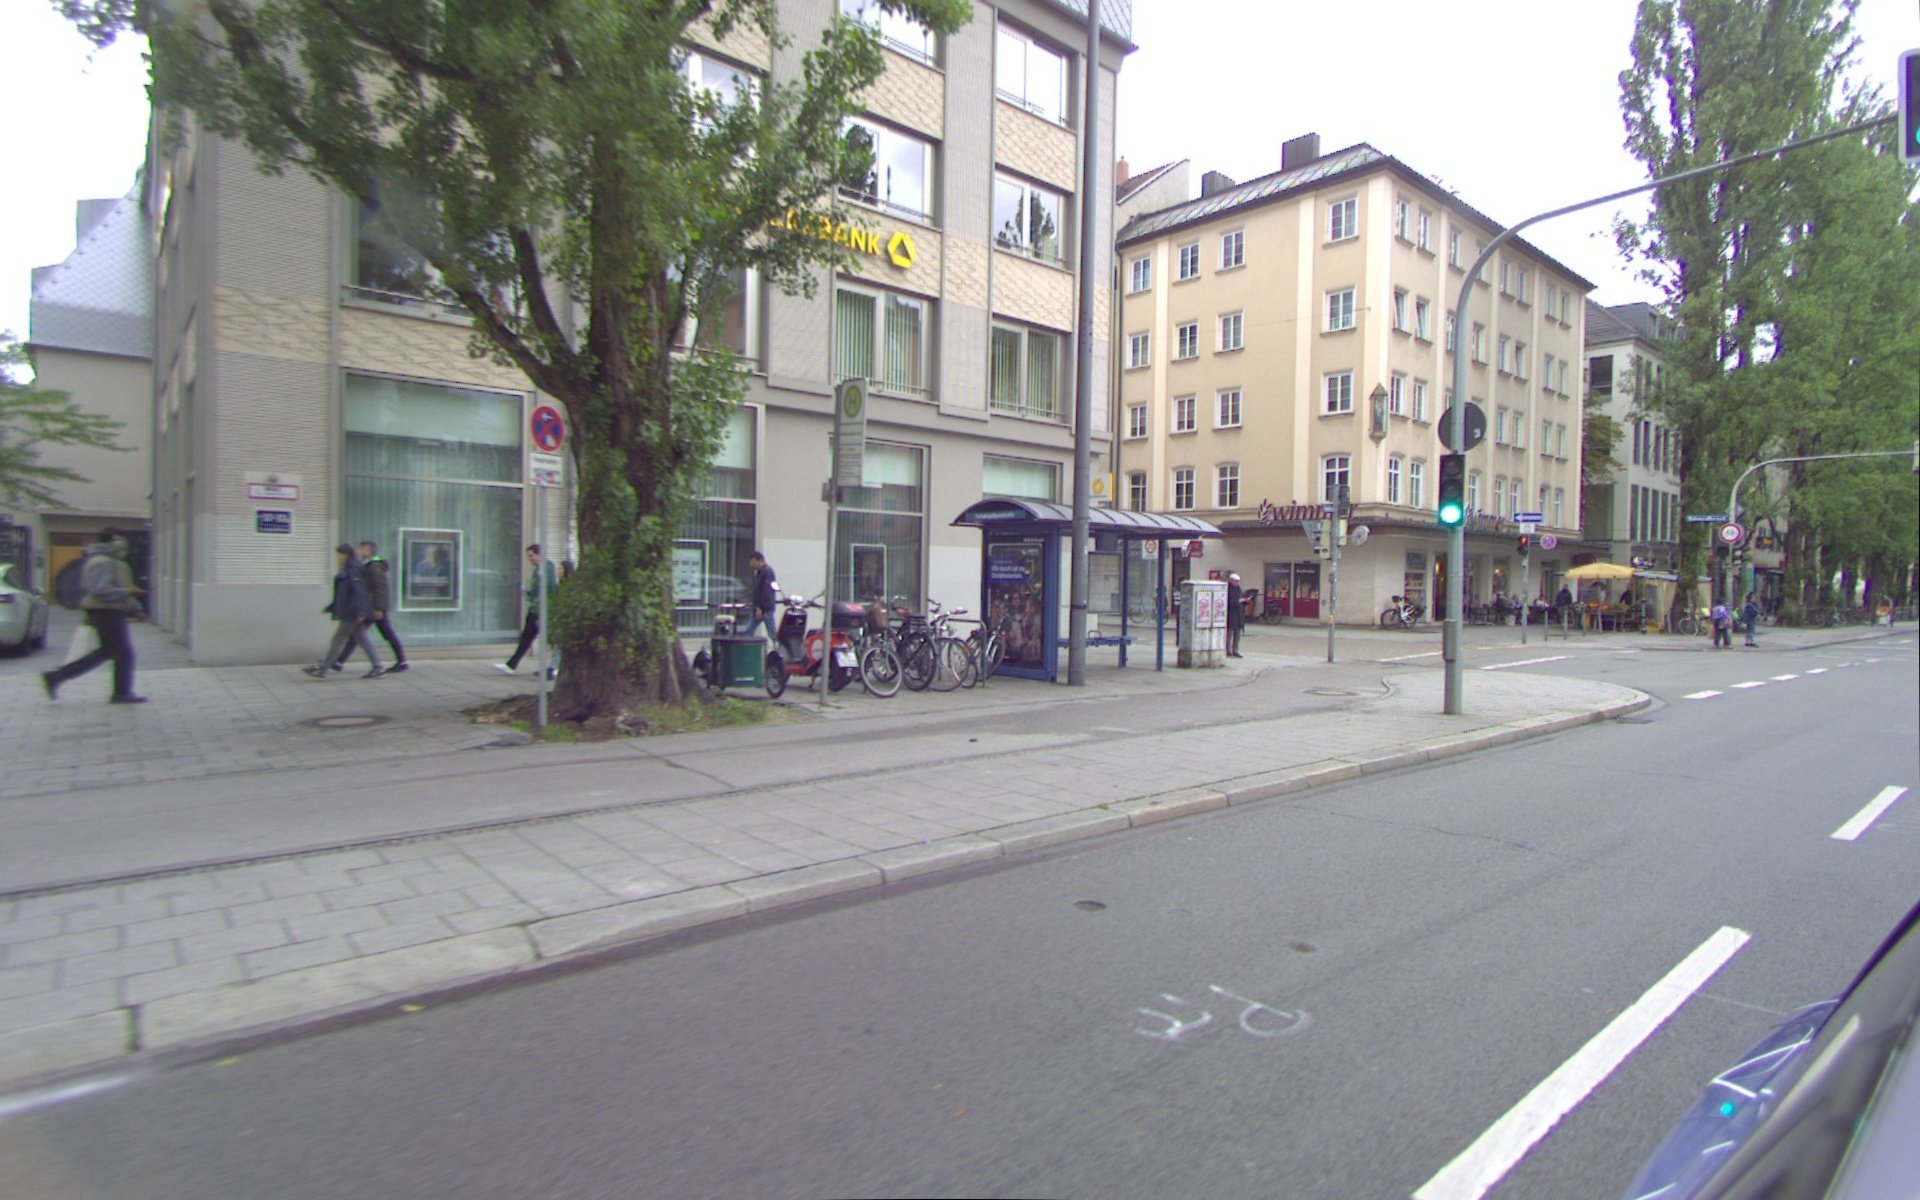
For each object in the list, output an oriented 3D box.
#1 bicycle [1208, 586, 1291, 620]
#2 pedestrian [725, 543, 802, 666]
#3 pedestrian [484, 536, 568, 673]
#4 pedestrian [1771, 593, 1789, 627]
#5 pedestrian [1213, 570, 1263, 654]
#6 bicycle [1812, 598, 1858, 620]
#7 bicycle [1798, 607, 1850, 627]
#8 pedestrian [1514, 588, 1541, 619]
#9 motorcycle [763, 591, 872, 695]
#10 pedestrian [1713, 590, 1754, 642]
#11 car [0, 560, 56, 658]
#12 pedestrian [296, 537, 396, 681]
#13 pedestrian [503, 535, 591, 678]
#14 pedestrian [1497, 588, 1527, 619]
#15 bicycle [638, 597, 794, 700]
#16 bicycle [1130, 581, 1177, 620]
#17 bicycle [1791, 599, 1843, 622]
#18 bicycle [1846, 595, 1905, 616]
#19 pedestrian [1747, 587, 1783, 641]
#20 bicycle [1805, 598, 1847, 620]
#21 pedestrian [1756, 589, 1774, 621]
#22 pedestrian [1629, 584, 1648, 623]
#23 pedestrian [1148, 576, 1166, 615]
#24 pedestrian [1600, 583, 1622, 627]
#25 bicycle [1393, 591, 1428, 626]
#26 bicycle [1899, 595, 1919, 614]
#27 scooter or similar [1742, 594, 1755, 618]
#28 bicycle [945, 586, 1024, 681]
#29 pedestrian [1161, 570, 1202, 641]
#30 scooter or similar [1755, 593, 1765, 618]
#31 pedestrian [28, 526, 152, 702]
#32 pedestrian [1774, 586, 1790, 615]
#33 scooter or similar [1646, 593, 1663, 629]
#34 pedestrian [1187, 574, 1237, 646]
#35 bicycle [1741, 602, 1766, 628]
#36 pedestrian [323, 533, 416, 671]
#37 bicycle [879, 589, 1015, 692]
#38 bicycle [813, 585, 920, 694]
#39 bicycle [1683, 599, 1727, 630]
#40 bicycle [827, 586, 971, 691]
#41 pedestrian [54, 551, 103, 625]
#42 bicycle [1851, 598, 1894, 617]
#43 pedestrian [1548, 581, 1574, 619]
[{"bbox_3d":[10.909,0.101,38.270,0.982,1.268,2.975,0,0,-41],"label":"bicycle"},{"bbox_3d":[-3.055,0.053,15.737,0.875,1.840,0.819,0,1,-43],"label":"pedestrian"},{"bbox_3d":[-5.866,0.036,13.674,0.844,1.779,0.752,-2,3,-40],"label":"pedestrian"},{"bbox_3d":[48.551,0.596,59.906,0.709,1.996,0.658,1,1,-38],"label":"pedestrian"},{"bbox_3d":[5.992,0.243,21.809,0.739,1.780,0.710,0,1,-40],"label":"pedestrian"},{"bbox_3d":[47.851,0.483,55.348,1.864,1.149,0.335,2,1,41],"label":"bicycle"},{"bbox_3d":[43.924,0.840,51.476,1.997,0.957,0.282,2,1,41],"label":"bicycle"},{"bbox_3d":[23.797,0.127,42.457,0.687,1.280,0.777,0,1,-41],"label":"pedestrian"},{"bbox_3d":[-1.788,0.488,12.503,0.500,1.154,1.728,0,1,-39],"label":"motorcycle"},{"bbox_3d":[23.169,0.472,30.313,0.608,1.536,0.769,0,2,3],"label":"pedestrian"},{"bbox_3d":[-15.601,0.065,15.845,1.865,1.405,4.311,0,2,-38],"label":"car"},{"bbox_3d":[-7.590,0.093,12.505,0.945,1.698,0.752,0,1,-40],"label":"pedestrian"},{"bbox_3d":[-5.347,0.053,13.098,0.844,1.779,0.752,-2,3,-40],"label":"pedestrian"},{"bbox_3d":[22.479,0.145,41.219,0.687,1.214,0.870,0,1,-40],"label":"pedestrian"},{"bbox_3d":[-2.856,0.505,11.665,0.859,1.030,2.152,0,1,-41],"label":"bicycle"},{"bbox_3d":[7.141,0.012,37.393,0.472,1.404,1.832,0,1,-39],"label":"bicycle"},{"bbox_3d":[43.483,0.517,51.384,1.996,1.096,0.282,2,1,40],"label":"bicycle"},{"bbox_3d":[55.872,0.317,61.772,0.948,1.230,2.576,0,1,-40],"label":"bicycle"},{"bbox_3d":[25.025,0.421,31.459,0.766,1.630,0.850,2,1,45],"label":"pedestrian"},{"bbox_3d":[46.772,0.471,54.668,1.657,1.121,0.391,2,1,38],"label":"bicycle"},{"bbox_3d":[48.024,0.278,60.380,0.889,1.874,0.658,0,1,-39],"label":"pedestrian"},{"bbox_3d":[29.946,0.138,44.668,0.526,1.694,0.542,1,1,-34],"label":"pedestrian"},{"bbox_3d":[7.985,-0.175,40.992,0.437,1.577,0.583,0,0,-40],"label":"pedestrian"},{"bbox_3d":[25.856,0.190,40.207,0.526,1.694,0.542,1,1,-34],"label":"pedestrian"},{"bbox_3d":[15.708,0.277,35.269,1.781,1.185,0.435,-1,0,-43],"label":"bicycle"},{"bbox_3d":[72.345,0.363,76.747,0.819,1.429,2.580,1,0,22],"label":"bicycle"},{"bbox_3d":[42.011,0.308,53.896,1.018,1.289,0.330,0,1,-41],"label":"scooter or similar"},{"bbox_3d":[0.325,0.449,14.970,0.467,1.268,2.252,1,1,-17],"label":"bicycle"},{"bbox_3d":[5.676,0.118,25.930,0.698,1.780,0.751,0,1,-40],"label":"pedestrian"},{"bbox_3d":[42.288,0.271,53.493,1.018,1.289,0.247,0,1,-41],"label":"scooter or similar"},{"bbox_3d":[-8.718,0.127,10.173,0.912,1.687,0.561,0,1,-40],"label":"pedestrian"},{"bbox_3d":[50.637,0.026,62.349,0.662,1.807,0.658,0,1,-40],"label":"pedestrian"},{"bbox_3d":[24.659,0.373,35.941,0.405,1.259,1.356,1,1,32],"label":"scooter or similar"},{"bbox_3d":[6.337,0.239,25.433,0.999,1.780,0.752,1,1,-40],"label":"pedestrian"},{"bbox_3d":[31.449,0.586,40.093,1.740,0.987,0.509,0,1,-43],"label":"bicycle"},{"bbox_3d":[-7.798,0.022,13.367,0.945,1.739,0.751,0,0,-40],"label":"pedestrian"},{"bbox_3d":[-0.231,0.502,13.819,0.469,1.268,2.319,0,1,-41],"label":"bicycle"},{"bbox_3d":[-1.201,0.452,12.682,0.441,1.255,1.728,0,1,-39],"label":"bicycle"},{"bbox_3d":[26.632,0.520,36.150,1.774,1.084,0.406,0,-4,-25],"label":"bicycle"},{"bbox_3d":[-0.869,0.468,13.633,0.622,1.268,2.347,0,1,-41],"label":"bicycle"},{"bbox_3d":[-20.093,-0.289,23.089,0.738,1.643,0.963,1,1,-35],"label":"pedestrian"},{"bbox_3d":[56.659,0.442,62.840,0.674,1.141,1.901,0,1,-40],"label":"bicycle"},{"bbox_3d":[26.224,-0.005,44.134,0.687,1.609,0.777,0,1,-41],"label":"pedestrian"}]
